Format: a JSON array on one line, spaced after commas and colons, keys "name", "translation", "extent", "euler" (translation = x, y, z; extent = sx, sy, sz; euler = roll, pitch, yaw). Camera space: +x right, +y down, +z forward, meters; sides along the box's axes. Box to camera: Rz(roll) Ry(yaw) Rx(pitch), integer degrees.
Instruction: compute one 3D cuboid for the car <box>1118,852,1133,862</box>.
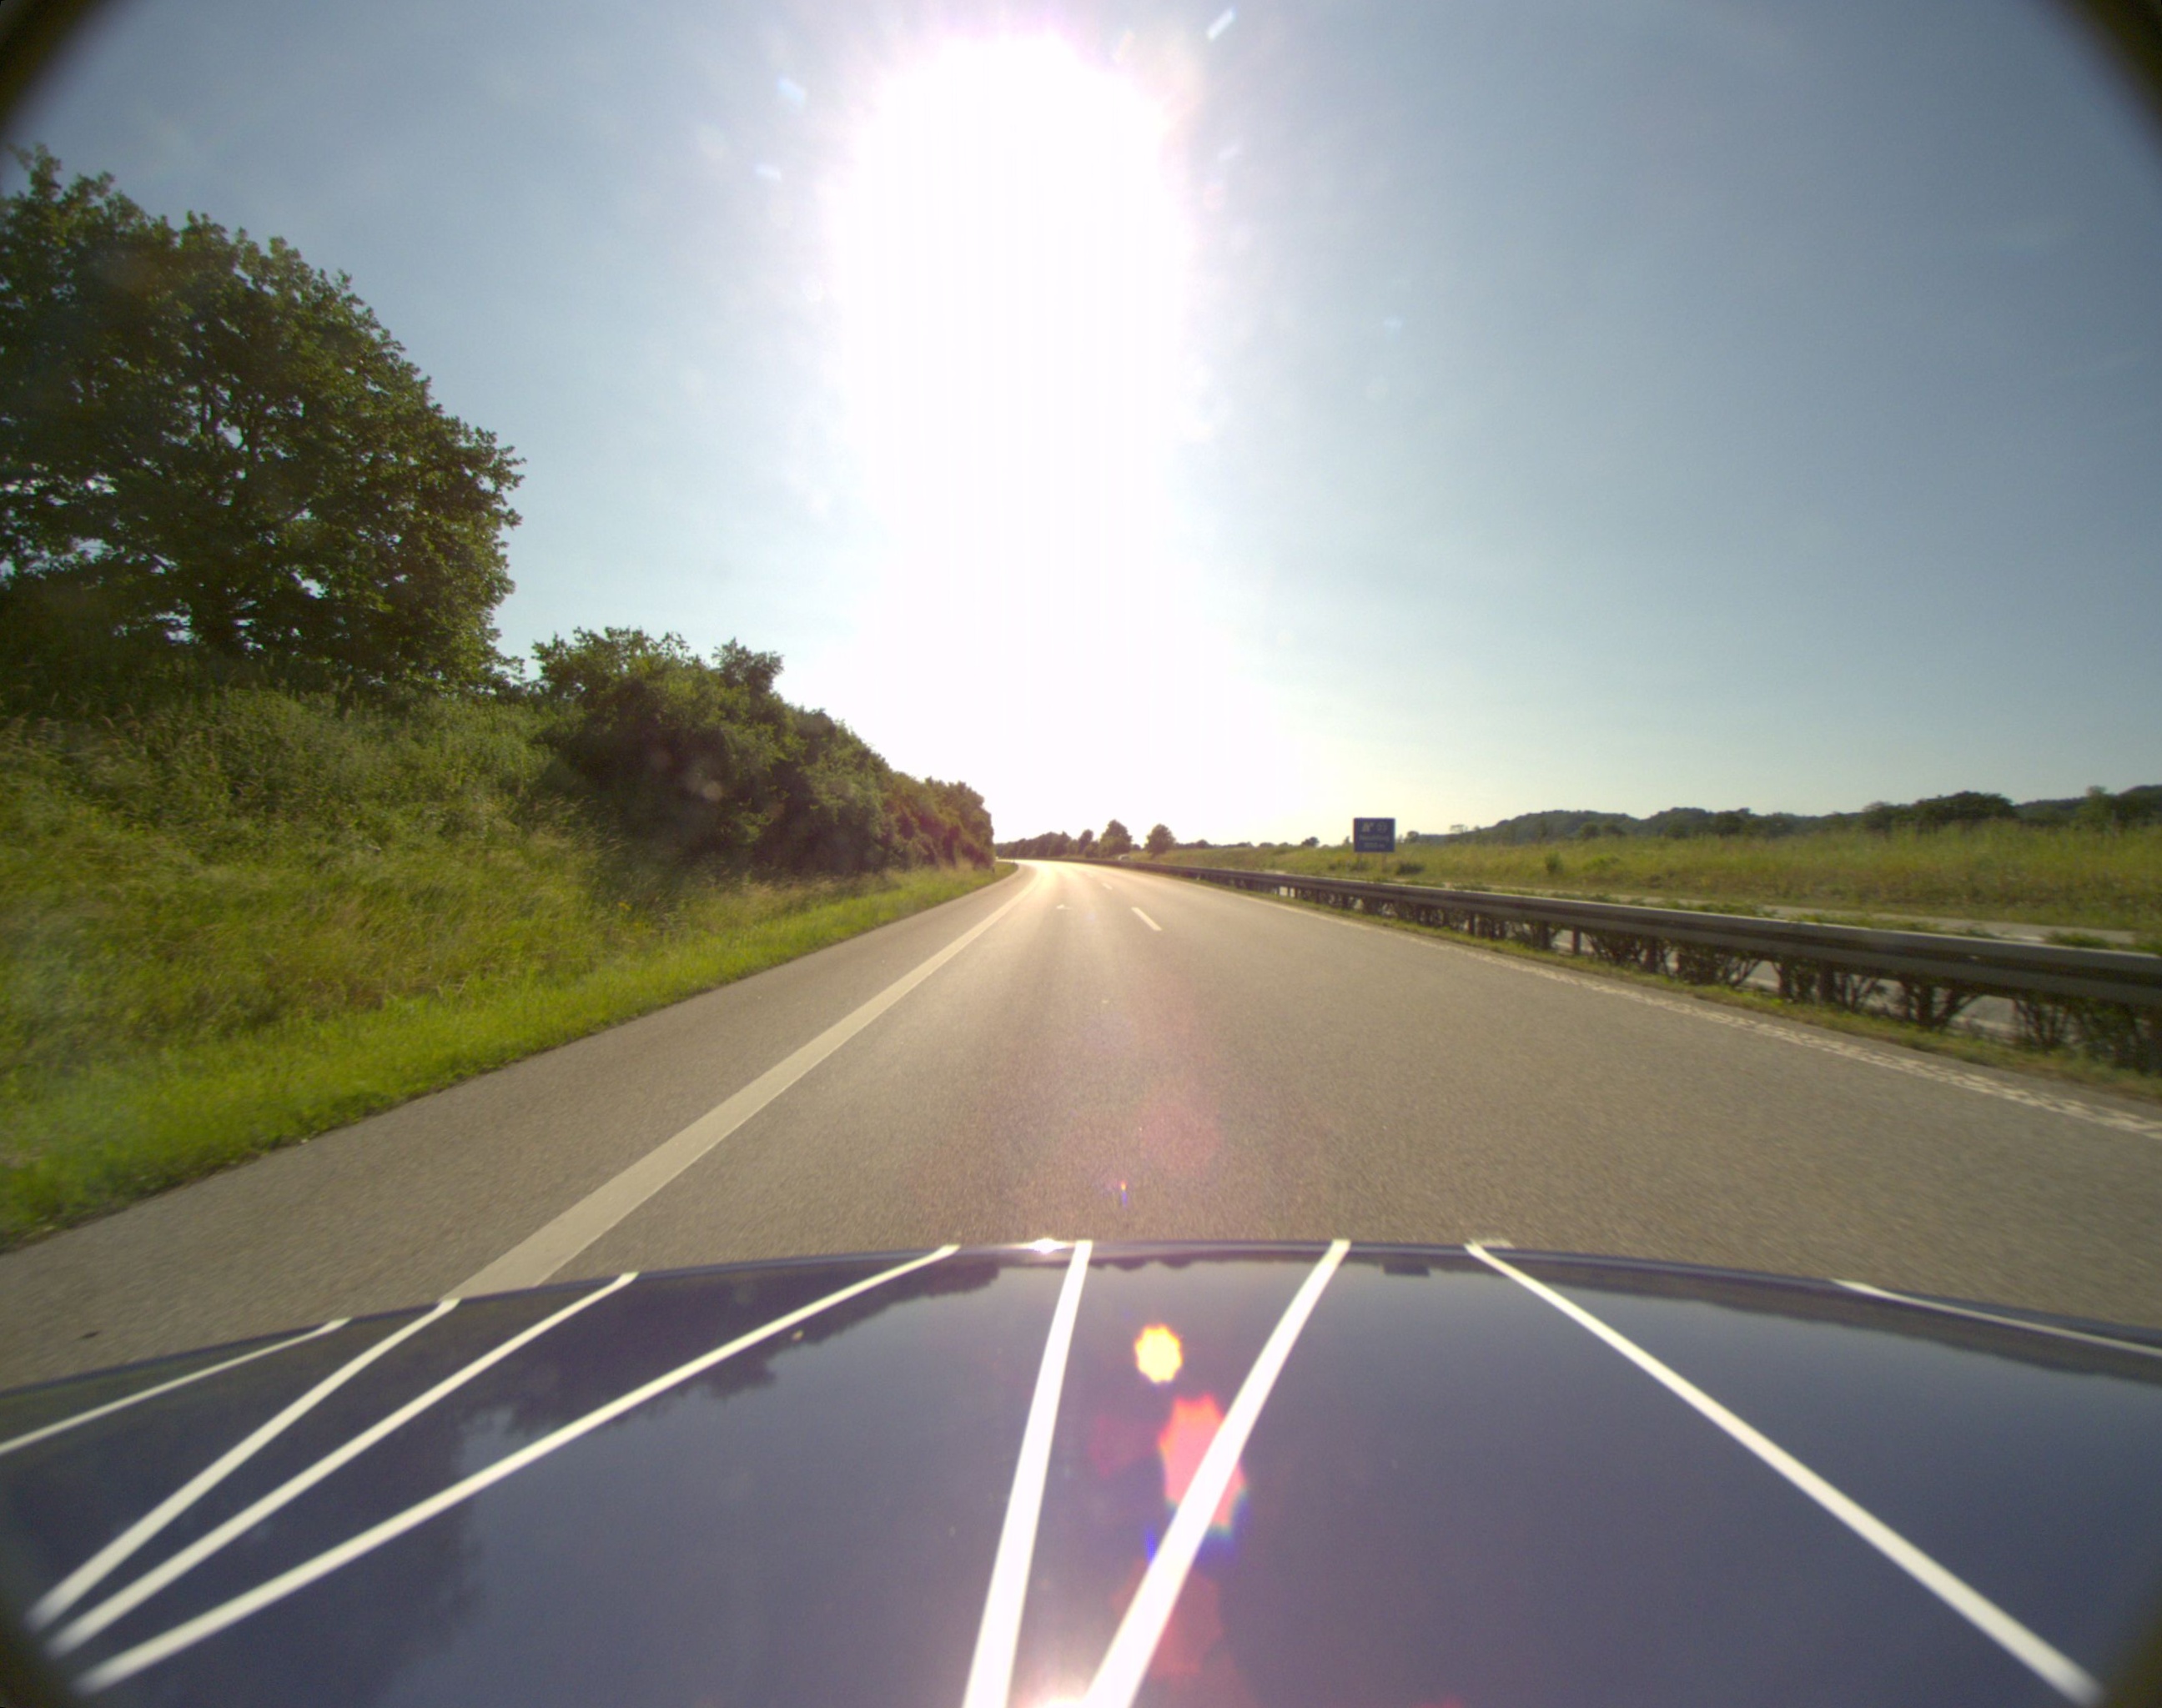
[{"name": "car", "translation": [7.676, 0.456, 131.400], "extent": [1.771, 1.613, 5.006], "euler": [2, 0, -5]}]
